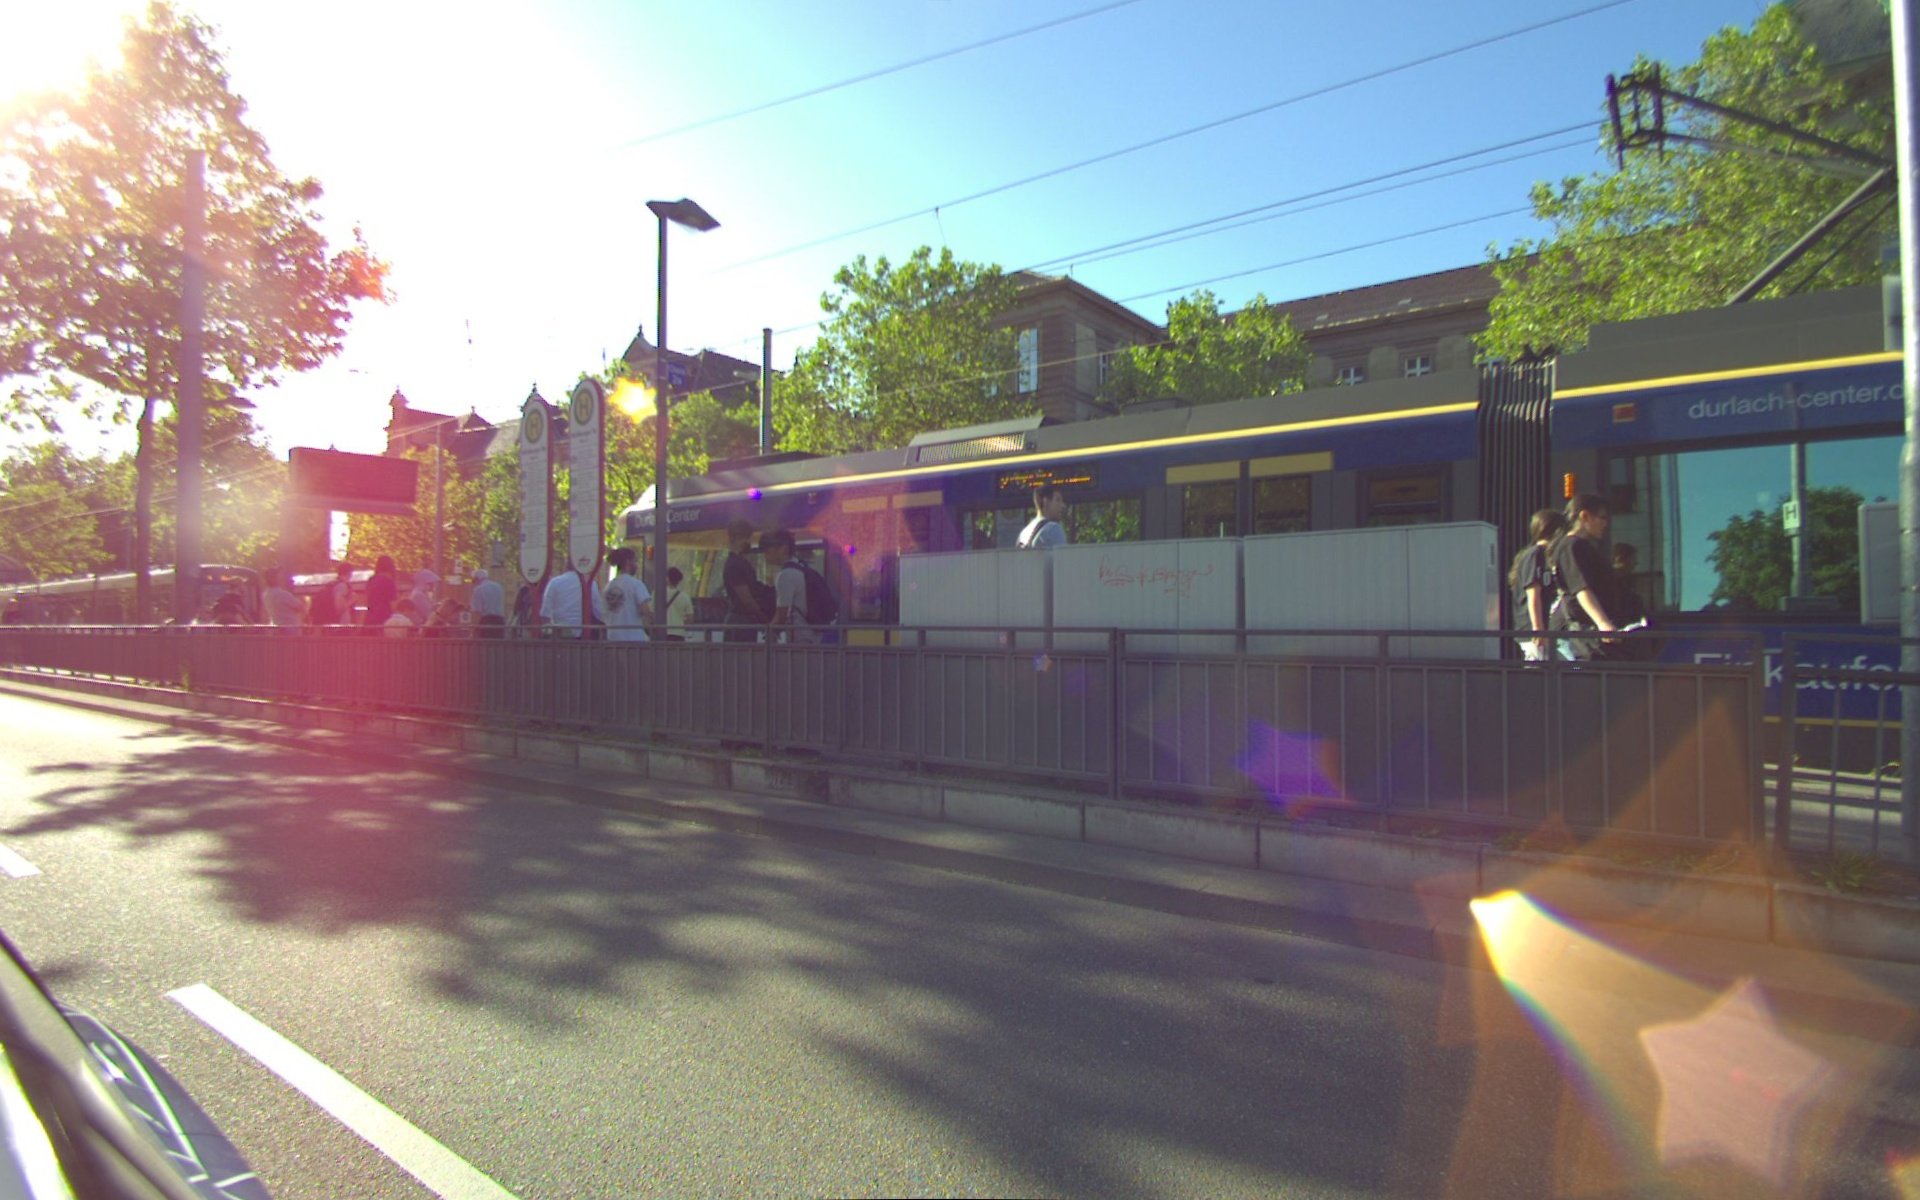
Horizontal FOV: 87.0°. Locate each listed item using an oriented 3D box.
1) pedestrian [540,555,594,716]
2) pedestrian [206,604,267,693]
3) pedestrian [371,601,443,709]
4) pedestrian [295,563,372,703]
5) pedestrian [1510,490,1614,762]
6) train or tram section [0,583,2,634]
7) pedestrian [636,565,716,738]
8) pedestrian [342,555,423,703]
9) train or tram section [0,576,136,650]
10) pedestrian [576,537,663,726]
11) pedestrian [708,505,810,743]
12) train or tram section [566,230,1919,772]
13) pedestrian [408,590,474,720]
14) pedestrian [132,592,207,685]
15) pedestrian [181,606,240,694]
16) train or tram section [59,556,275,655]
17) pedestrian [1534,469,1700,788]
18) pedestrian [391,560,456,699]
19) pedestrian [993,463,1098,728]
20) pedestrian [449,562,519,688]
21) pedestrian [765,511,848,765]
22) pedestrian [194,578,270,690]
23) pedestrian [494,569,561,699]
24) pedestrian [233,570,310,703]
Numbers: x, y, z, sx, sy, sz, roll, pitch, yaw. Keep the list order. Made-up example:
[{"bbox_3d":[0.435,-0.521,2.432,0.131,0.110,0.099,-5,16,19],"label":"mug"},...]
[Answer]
[{"bbox_3d":[-4.361,0.390,11.211,0.498,1.715,0.613,1,-2,-25],"label":"pedestrian"},{"bbox_3d":[-10.539,0.704,14.734,0.603,1.256,0.529,-1,-3,35],"label":"pedestrian"},{"bbox_3d":[-6.323,0.622,11.584,0.530,1.201,0.540,-2,-3,37],"label":"pedestrian"},{"bbox_3d":[-7.893,0.414,12.755,0.570,1.709,0.654,-2,-3,38],"label":"pedestrian"},{"bbox_3d":[4.042,0.175,6.790,0.544,1.715,0.603,-1,-2,33],"label":"pedestrian"},{"bbox_3d":[-55.409,0.560,55.058,15.050,2.551,2.538,-1,-2,38],"label":"train or tram section"},{"bbox_3d":[-3.049,0.544,10.873,0.610,1.783,0.548,-1,-2,33],"label":"pedestrian"},{"bbox_3d":[-6.916,0.345,12.136,0.570,1.709,0.654,-2,-3,38],"label":"pedestrian"},{"bbox_3d":[-47.933,0.785,53.470,18.248,3.460,2.844,-2,-1,38],"label":"train or tram section"},{"bbox_3d":[-3.214,0.292,9.570,0.610,1.715,0.501,-1,-2,33],"label":"pedestrian"},{"bbox_3d":[-1.548,0.184,7.817,0.538,1.747,0.543,-1,-2,33],"label":"pedestrian"},{"bbox_3d":[1.249,-0.603,11.489,15.869,3.284,2.887,0,1,38],"label":"train or tram section"},{"bbox_3d":[-5.470,0.569,10.667,0.506,1.326,0.412,-1,-2,36],"label":"pedestrian"},{"bbox_3d":[-13.250,0.642,16.973,0.750,1.521,0.769,-1,-3,34],"label":"pedestrian"},{"bbox_3d":[-11.462,0.756,15.478,0.603,1.309,0.529,-1,-3,34],"label":"pedestrian"},{"bbox_3d":[-33.583,0.378,42.243,18.187,3.460,2.822,-2,-1,38],"label":"train or tram section"},{"bbox_3d":[3.827,0.165,5.923,0.745,1.715,0.627,-1,-2,33],"label":"pedestrian"},{"bbox_3d":[-6.884,0.378,12.987,0.620,1.721,0.510,-2,-3,37],"label":"pedestrian"},{"bbox_3d":[0.596,-0.022,7.043,0.538,1.747,0.543,-1,-2,33],"label":"pedestrian"},{"bbox_3d":[-6.472,0.339,13.766,0.621,1.662,0.613,-1,-2,33],"label":"pedestrian"},{"bbox_3d":[-1.111,0.268,7.292,0.531,1.747,0.551,1,-2,-14],"label":"pedestrian"},{"bbox_3d":[-11.863,0.561,16.497,0.721,1.766,0.769,-1,-3,34],"label":"pedestrian"},{"bbox_3d":[-5.259,0.414,12.304,0.530,1.530,0.540,-2,-3,37],"label":"pedestrian"},{"bbox_3d":[-8.862,0.466,13.036,0.570,1.646,0.654,-2,-3,38],"label":"pedestrian"}]
